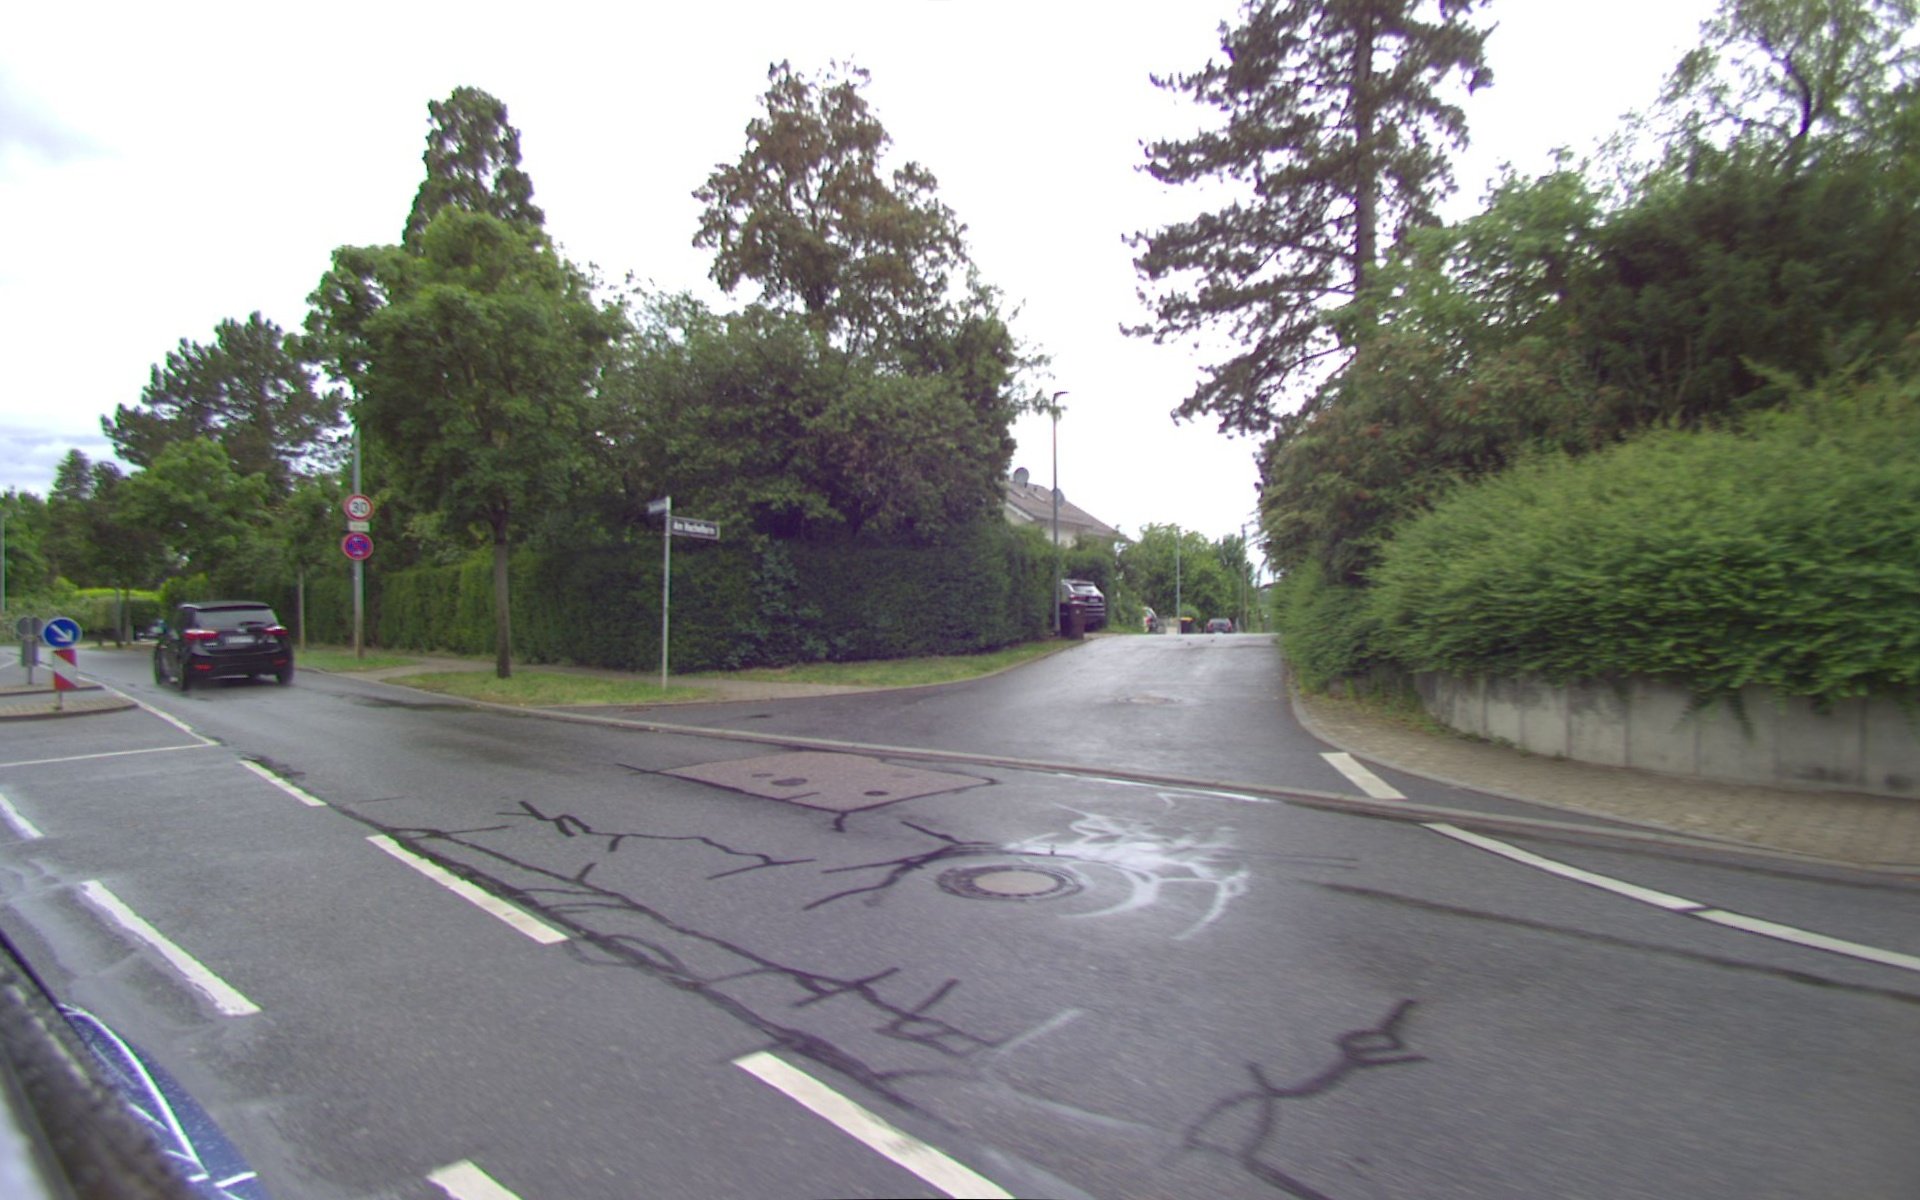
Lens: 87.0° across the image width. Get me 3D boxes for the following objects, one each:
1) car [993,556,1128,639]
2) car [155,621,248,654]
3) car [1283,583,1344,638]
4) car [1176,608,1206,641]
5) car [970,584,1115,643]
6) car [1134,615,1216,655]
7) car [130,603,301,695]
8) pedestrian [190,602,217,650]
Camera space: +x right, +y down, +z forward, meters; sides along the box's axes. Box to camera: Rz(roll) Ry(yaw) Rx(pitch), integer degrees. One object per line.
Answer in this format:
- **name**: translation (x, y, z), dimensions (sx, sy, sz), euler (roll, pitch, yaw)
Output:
- **car**: translation (3.364, -0.072, 33.887), dimensions (3.985, 2.599, 1.979), euler (-2, 1, 31)
- **car**: translation (-42.250, 2.075, 56.399), dimensions (1.817, 1.598, 3.812), euler (-2, 0, 40)
- **car**: translation (14.217, 0.394, 40.596), dimensions (1.988, 2.029, 3.968), euler (-2, 1, 24)
- **car**: translation (16.117, 1.690, 70.627), dimensions (1.651, 2.028, 3.977), euler (-2, 1, 18)
- **car**: translation (2.571, 0.424, 31.661), dimensions (4.138, 1.728, 1.831), euler (-1, 0, 28)
- **car**: translation (11.964, 1.948, 56.388), dimensions (3.985, 2.028, 1.980), euler (-2, 1, 31)
- **car**: translation (-14.632, 0.886, 19.818), dimensions (4.000, 1.589, 1.972), euler (-1, 0, 43)
- **pedestrian**: translation (-30.480, 1.043, 40.772), dimensions (0.702, 1.844, 0.882), euler (-4, 2, -41)
